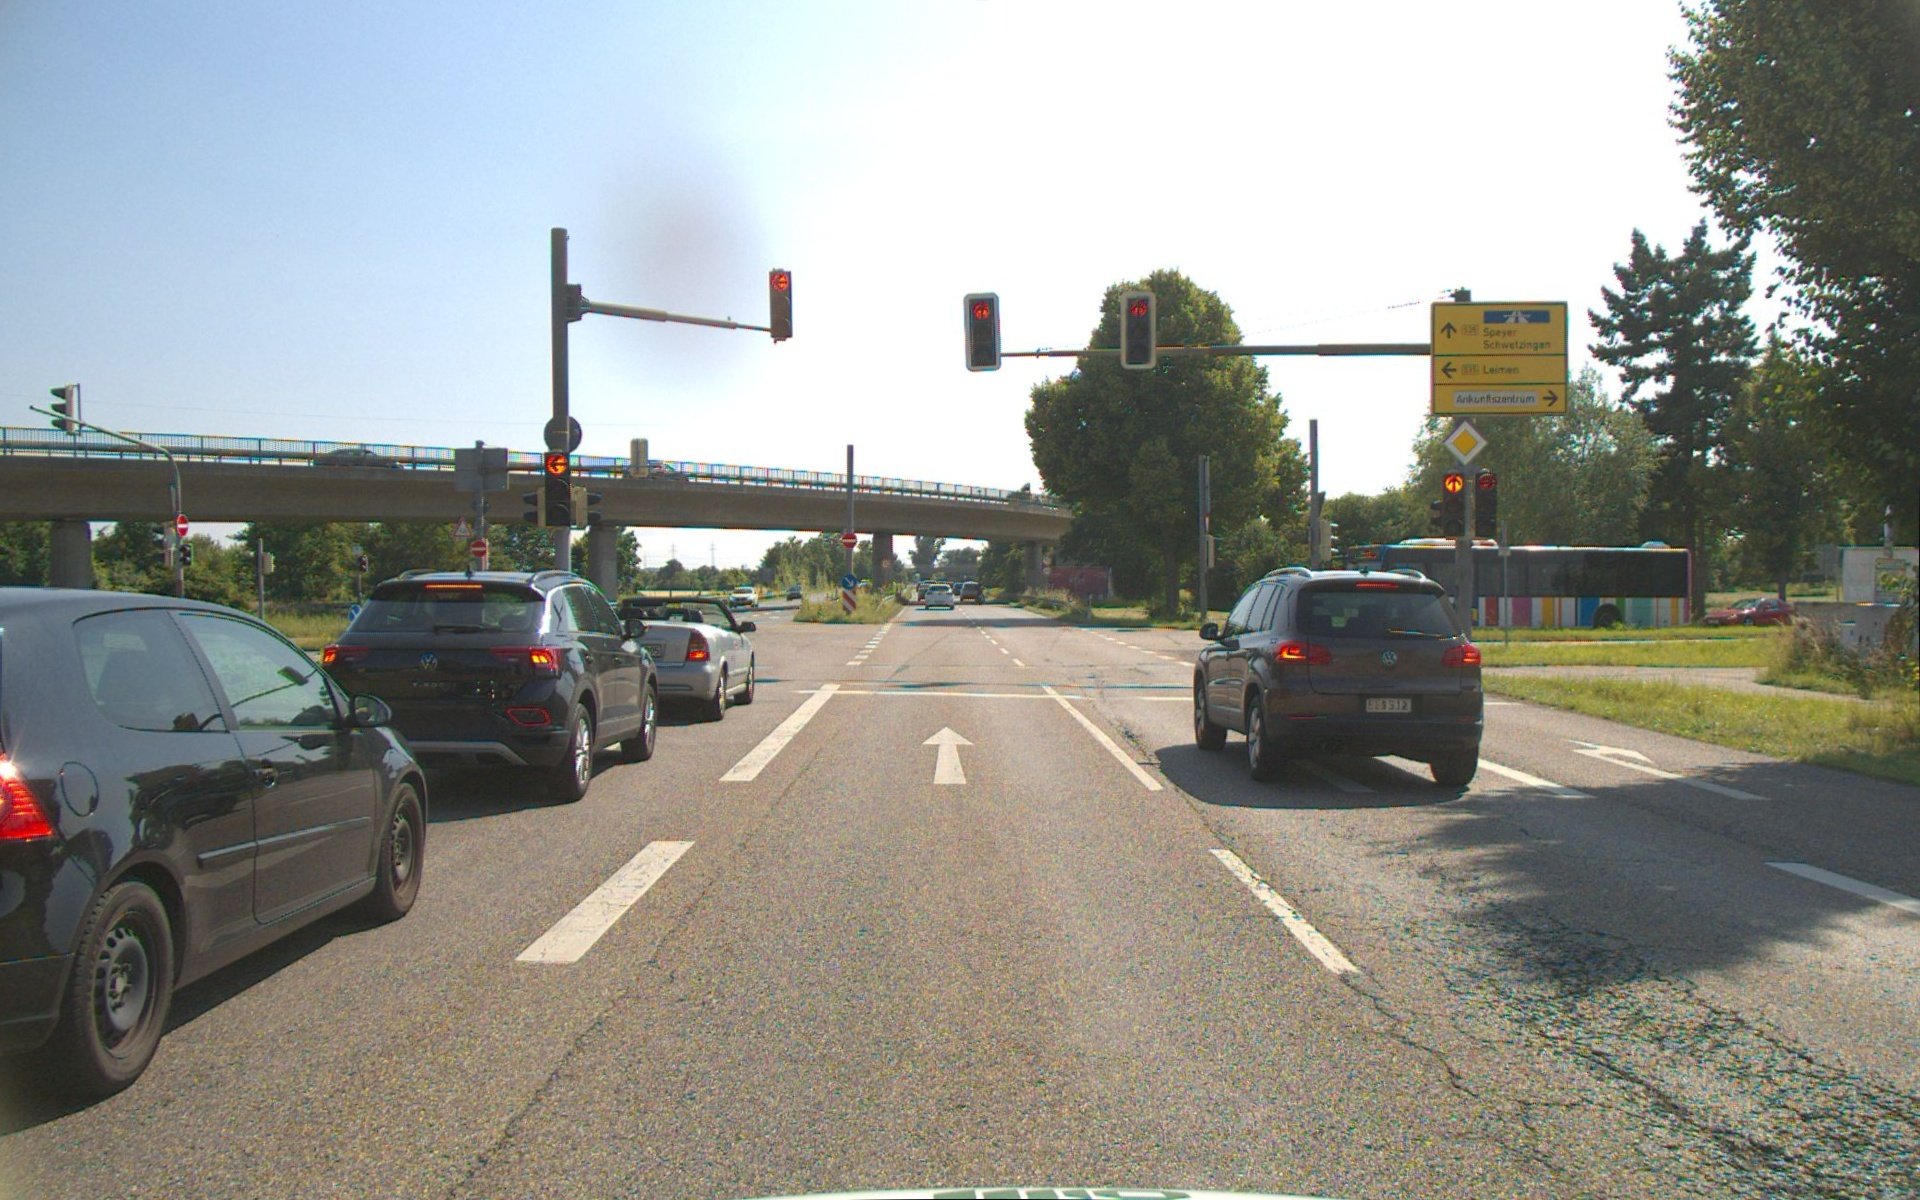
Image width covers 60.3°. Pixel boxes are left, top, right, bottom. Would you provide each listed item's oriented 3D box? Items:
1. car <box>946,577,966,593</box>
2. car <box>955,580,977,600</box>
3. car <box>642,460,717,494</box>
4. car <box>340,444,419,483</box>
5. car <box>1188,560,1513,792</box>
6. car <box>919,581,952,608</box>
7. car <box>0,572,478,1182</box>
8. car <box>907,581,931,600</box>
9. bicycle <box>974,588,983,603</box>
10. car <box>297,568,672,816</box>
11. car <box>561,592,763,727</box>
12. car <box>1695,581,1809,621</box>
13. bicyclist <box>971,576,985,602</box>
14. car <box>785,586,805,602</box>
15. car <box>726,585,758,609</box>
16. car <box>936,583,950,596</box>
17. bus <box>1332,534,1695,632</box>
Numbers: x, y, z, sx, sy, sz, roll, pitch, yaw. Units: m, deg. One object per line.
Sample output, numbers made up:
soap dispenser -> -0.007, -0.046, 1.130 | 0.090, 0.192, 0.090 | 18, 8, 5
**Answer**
car -> -0.439, -1.601, 179.023 | 1.953, 1.660, 3.999 | 2, 0, -1
car -> 0.566, -0.889, 143.201 | 1.835, 1.668, 4.000 | 2, 1, 0
car -> -15.400, -6.753, 90.948 | 1.956, 1.512, 3.993 | 2, 0, 29
car -> -26.104, -6.133, 74.405 | 1.298, 1.512, 3.183 | 0, 1, 38
car -> 3.193, 0.554, 14.385 | 1.720, 1.684, 4.145 | 1, 0, -2
car -> -1.415, -0.313, 95.642 | 1.813, 1.486, 4.000 | 1, 1, 0
car -> -3.179, 0.650, 6.093 | 1.632, 1.500, 4.097 | 0, 1, -1
car -> -3.402, -0.797, 138.521 | 1.835, 1.518, 4.000 | 0, 1, 0
bicycle -> 1.334, -0.334, 119.352 | 0.588, 1.000, 2.360 | -1, 1, -1
car -> -3.382, 0.559, 12.578 | 1.693, 1.574, 4.097 | 0, 1, -1
car -> -3.340, 0.608, 19.246 | 1.639, 1.358, 4.097 | 0, 1, -1
car -> 29.632, 0.015, 61.898 | 3.932, 1.422, 1.670 | -1, 0, -23
bicyclist -> 1.295, -0.794, 119.495 | 0.986, 1.919, 1.327 | -1, 0, 0
car -> -16.192, -0.590, 162.268 | 1.582, 1.467, 3.775 | -3, 0, -1
car -> -15.620, -0.214, 118.644 | 1.845, 1.541, 4.146 | -3, 0, -2
car -> -2.434, -1.471, 238.253 | 1.953, 1.684, 3.999 | 2, 0, -1
bus -> 18.244, -0.598, 54.448 | 11.744, 2.927, 2.929 | -1, 0, -16
